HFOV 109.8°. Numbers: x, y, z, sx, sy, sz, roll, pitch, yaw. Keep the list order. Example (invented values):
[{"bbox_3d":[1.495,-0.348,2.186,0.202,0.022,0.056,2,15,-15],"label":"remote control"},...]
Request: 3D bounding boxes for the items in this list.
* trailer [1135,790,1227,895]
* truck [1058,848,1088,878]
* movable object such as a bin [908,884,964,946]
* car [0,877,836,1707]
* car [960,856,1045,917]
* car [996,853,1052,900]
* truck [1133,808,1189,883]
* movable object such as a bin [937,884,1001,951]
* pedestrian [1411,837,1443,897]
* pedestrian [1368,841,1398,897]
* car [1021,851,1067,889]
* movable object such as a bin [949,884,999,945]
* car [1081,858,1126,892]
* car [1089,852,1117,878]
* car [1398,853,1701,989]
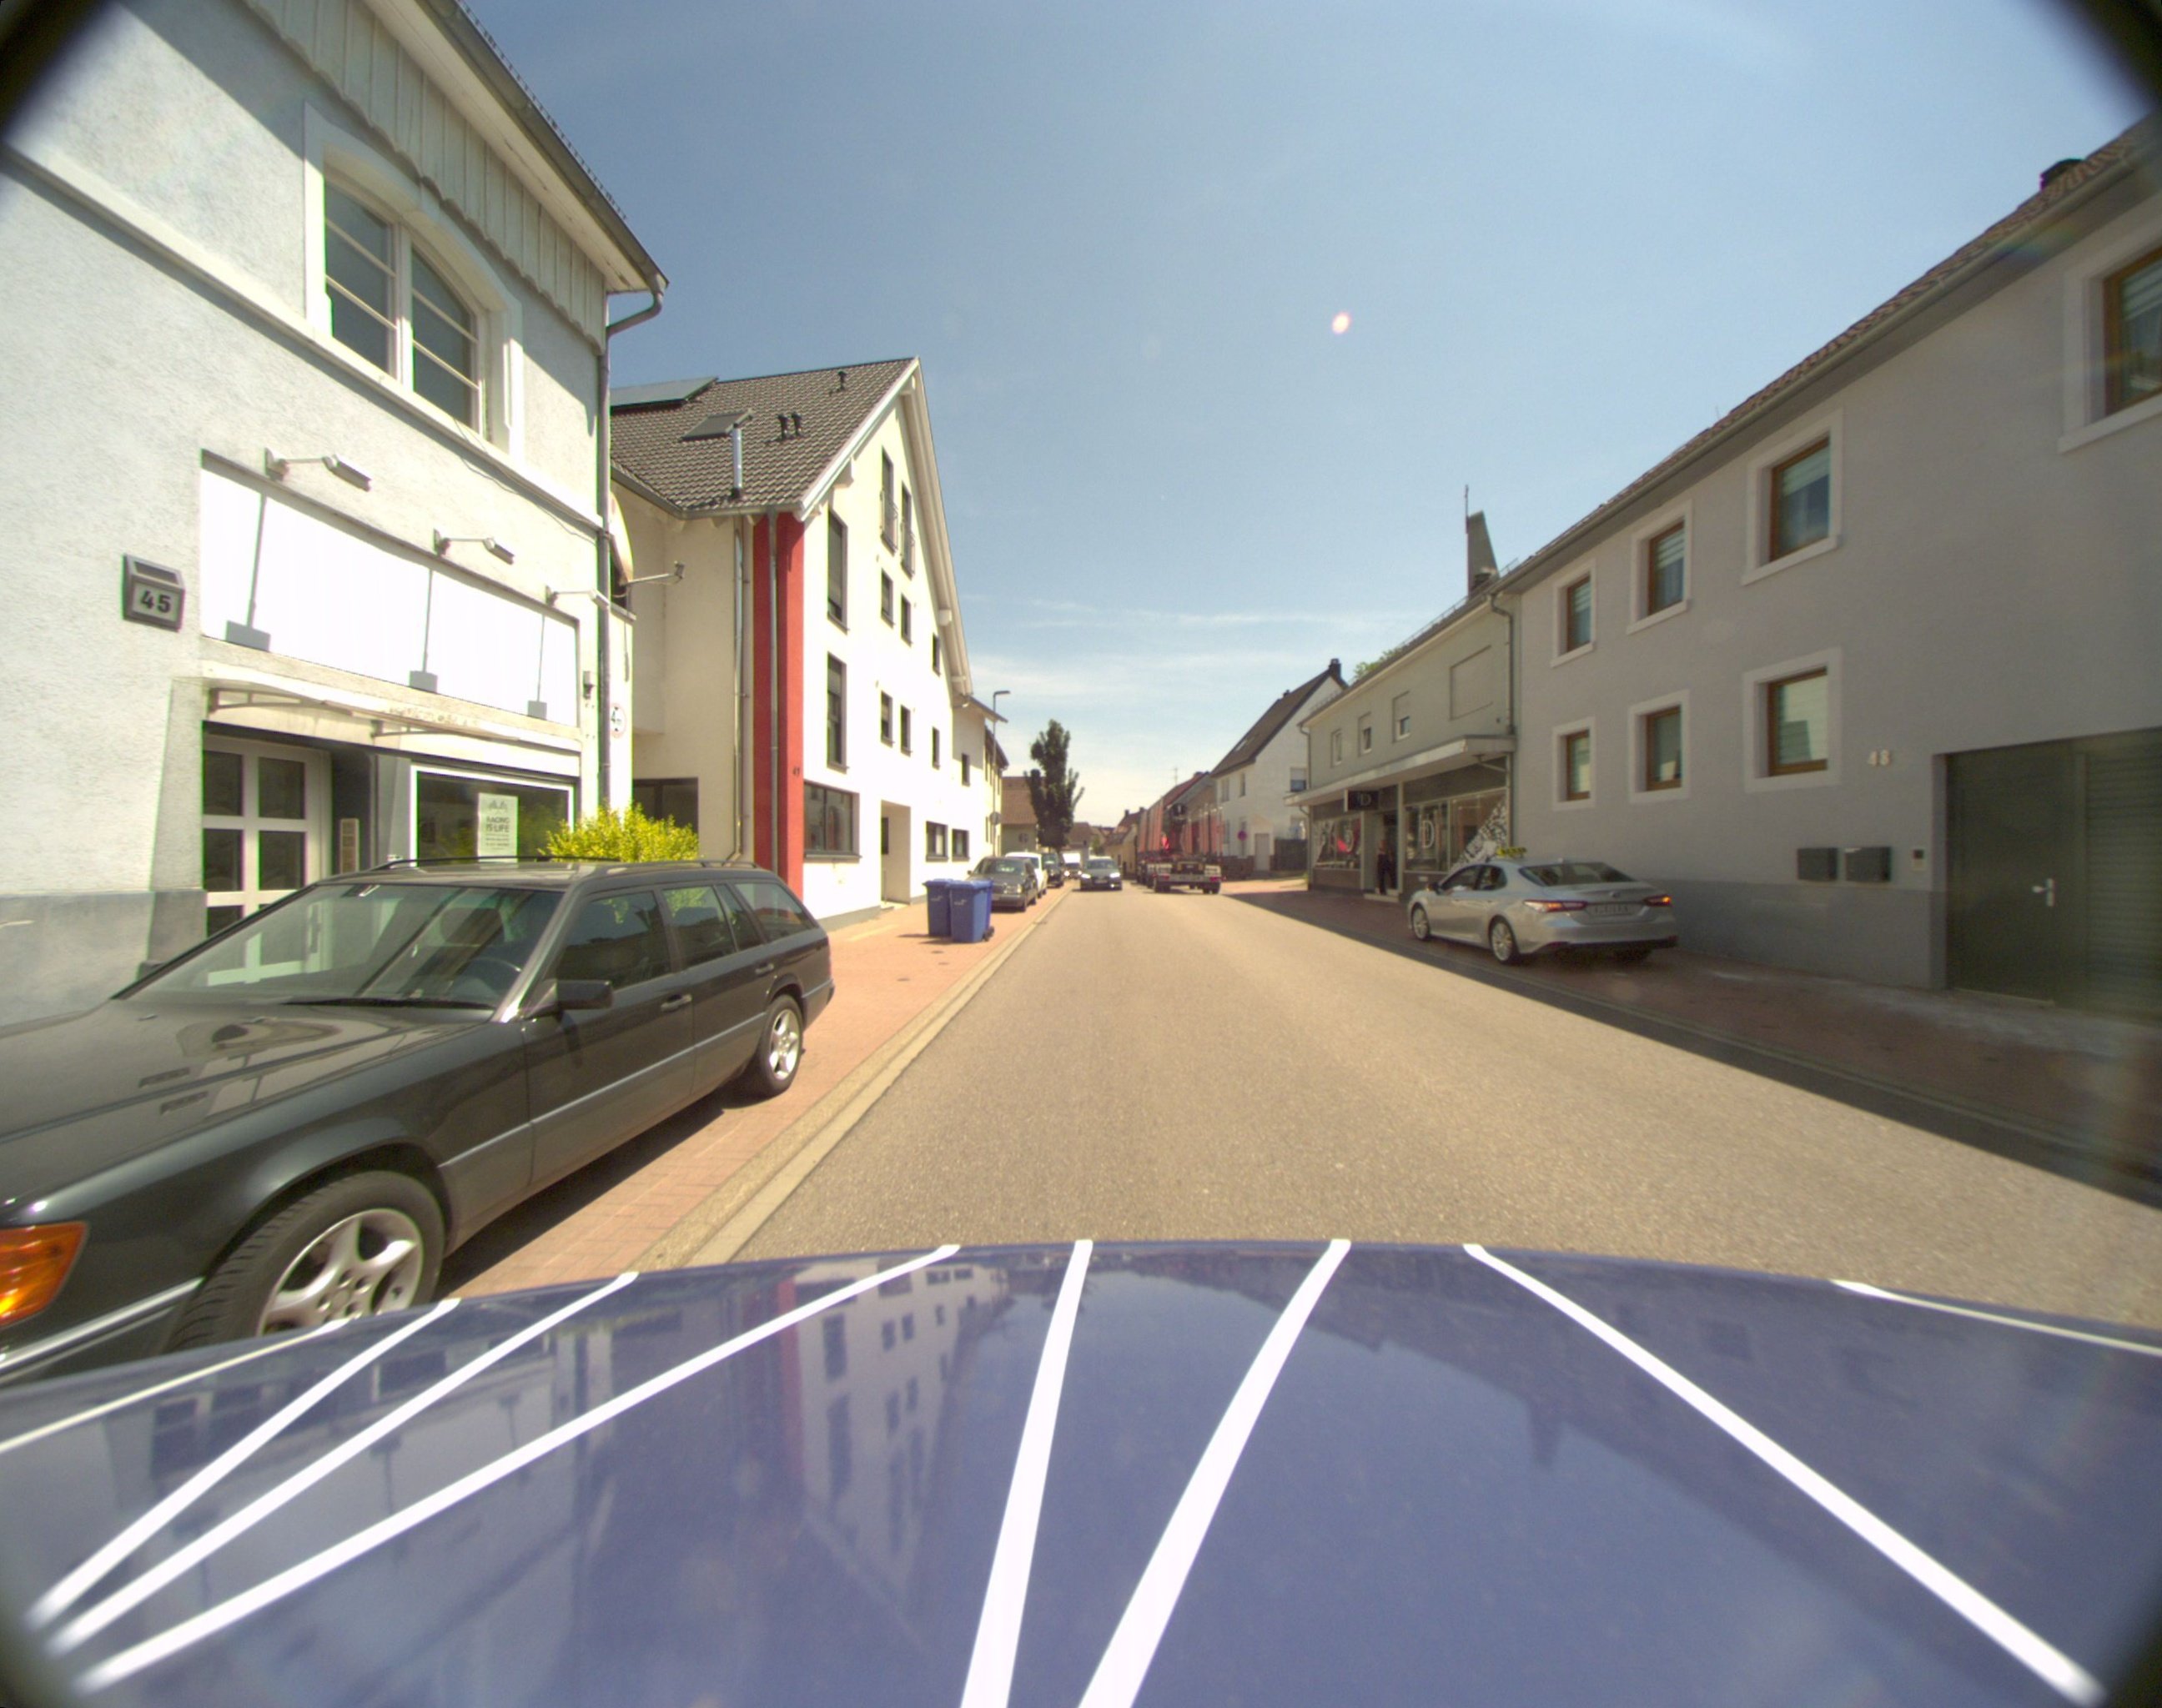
[{"bbox_3d":[4.372,-0.469,36.809,2.637,3.956,15.699,1,0,1],"label":"trailer"},{"bbox_3d":[-1.082,1.026,93.461,2.869,3.491,8.315,1,0,-6],"label":"truck"},{"bbox_3d":[-2.656,1.099,13.977,0.655,1.054,0.836,2,1,18],"label":"movable object such as a bin"},{"bbox_3d":[-2.796,0.906,3.403,1.774,1.457,4.578,1,0,2],"label":"car"},{"bbox_3d":[-2.092,0.830,21.537,1.704,1.438,4.837,2,0,2],"label":"car"},{"bbox_3d":[-1.996,0.750,27.488,1.610,1.513,3.545,2,0,1],"label":"car"},{"bbox_3d":[4.554,-0.465,44.345,2.625,3.962,6.852,1,0,2],"label":"truck"},{"bbox_3d":[-1.942,1.087,13.267,0.723,1.067,0.973,2,1,18],"label":"movable object such as a bin"},{"bbox_3d":[10.058,0.363,22.079,0.664,1.703,0.632,0,2,43],"label":"pedestrian"},{"bbox_3d":[9.240,0.457,23.263,0.626,1.675,0.771,-1,1,1],"label":"pedestrian"},{"bbox_3d":[-1.671,0.737,35.855,1.806,1.604,4.549,2,-1,1],"label":"car"},{"bbox_3d":[-1.957,1.098,13.975,0.656,1.029,0.685,2,1,18],"label":"movable object such as a bin"},{"bbox_3d":[0.959,0.857,32.528,1.786,1.364,3.607,-1,0,1],"label":"car"},{"bbox_3d":[1.695,0.883,60.584,2.079,1.949,5.519,-1,0,0],"label":"car"},{"bbox_3d":[6.538,0.807,11.352,1.812,1.548,4.565,-2,0,2],"label":"car"}]
